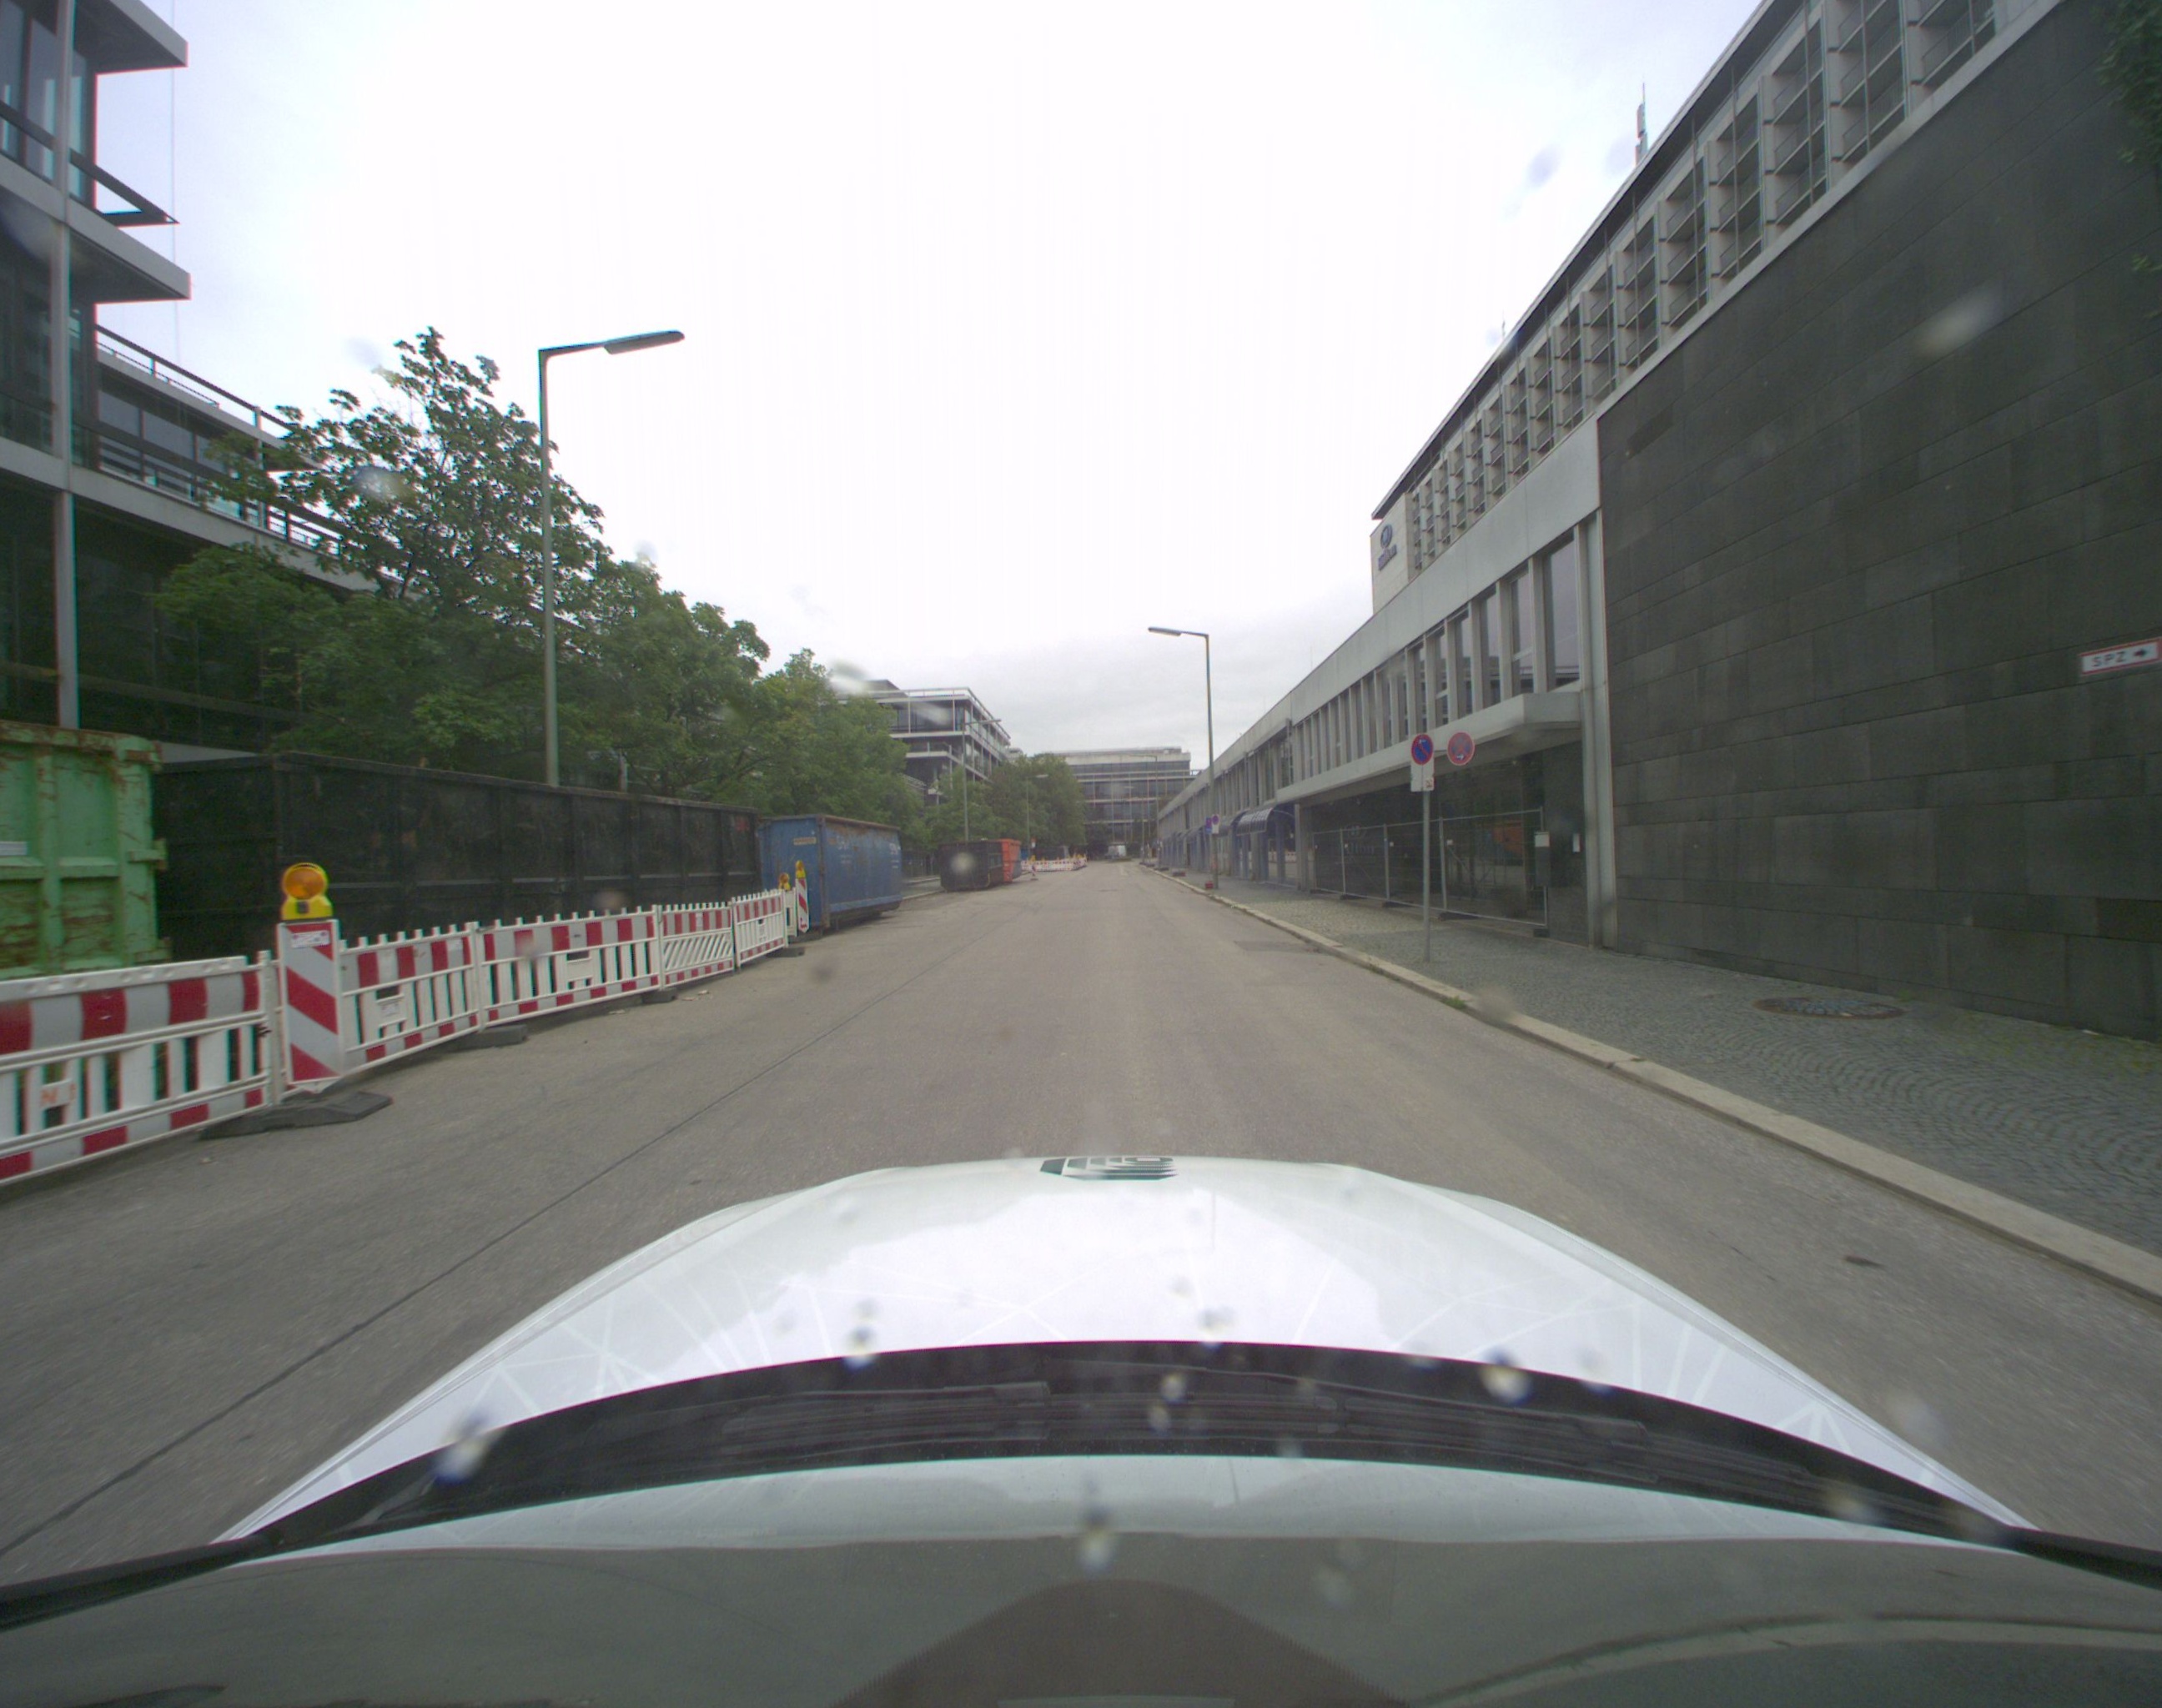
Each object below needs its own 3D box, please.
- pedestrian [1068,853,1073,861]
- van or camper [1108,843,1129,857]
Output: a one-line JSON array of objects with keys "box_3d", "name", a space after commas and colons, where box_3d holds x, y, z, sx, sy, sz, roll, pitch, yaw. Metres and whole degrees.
[{"box_3d": [-2.005, 0.563, 159.319, 0.743, 1.677, 0.678, -2, 0, -17], "name": "pedestrian"}, {"box_3d": [7.272, -0.763, 160.210, 2.095, 2.492, 5.028, -2, 0, -23], "name": "van or camper"}]
